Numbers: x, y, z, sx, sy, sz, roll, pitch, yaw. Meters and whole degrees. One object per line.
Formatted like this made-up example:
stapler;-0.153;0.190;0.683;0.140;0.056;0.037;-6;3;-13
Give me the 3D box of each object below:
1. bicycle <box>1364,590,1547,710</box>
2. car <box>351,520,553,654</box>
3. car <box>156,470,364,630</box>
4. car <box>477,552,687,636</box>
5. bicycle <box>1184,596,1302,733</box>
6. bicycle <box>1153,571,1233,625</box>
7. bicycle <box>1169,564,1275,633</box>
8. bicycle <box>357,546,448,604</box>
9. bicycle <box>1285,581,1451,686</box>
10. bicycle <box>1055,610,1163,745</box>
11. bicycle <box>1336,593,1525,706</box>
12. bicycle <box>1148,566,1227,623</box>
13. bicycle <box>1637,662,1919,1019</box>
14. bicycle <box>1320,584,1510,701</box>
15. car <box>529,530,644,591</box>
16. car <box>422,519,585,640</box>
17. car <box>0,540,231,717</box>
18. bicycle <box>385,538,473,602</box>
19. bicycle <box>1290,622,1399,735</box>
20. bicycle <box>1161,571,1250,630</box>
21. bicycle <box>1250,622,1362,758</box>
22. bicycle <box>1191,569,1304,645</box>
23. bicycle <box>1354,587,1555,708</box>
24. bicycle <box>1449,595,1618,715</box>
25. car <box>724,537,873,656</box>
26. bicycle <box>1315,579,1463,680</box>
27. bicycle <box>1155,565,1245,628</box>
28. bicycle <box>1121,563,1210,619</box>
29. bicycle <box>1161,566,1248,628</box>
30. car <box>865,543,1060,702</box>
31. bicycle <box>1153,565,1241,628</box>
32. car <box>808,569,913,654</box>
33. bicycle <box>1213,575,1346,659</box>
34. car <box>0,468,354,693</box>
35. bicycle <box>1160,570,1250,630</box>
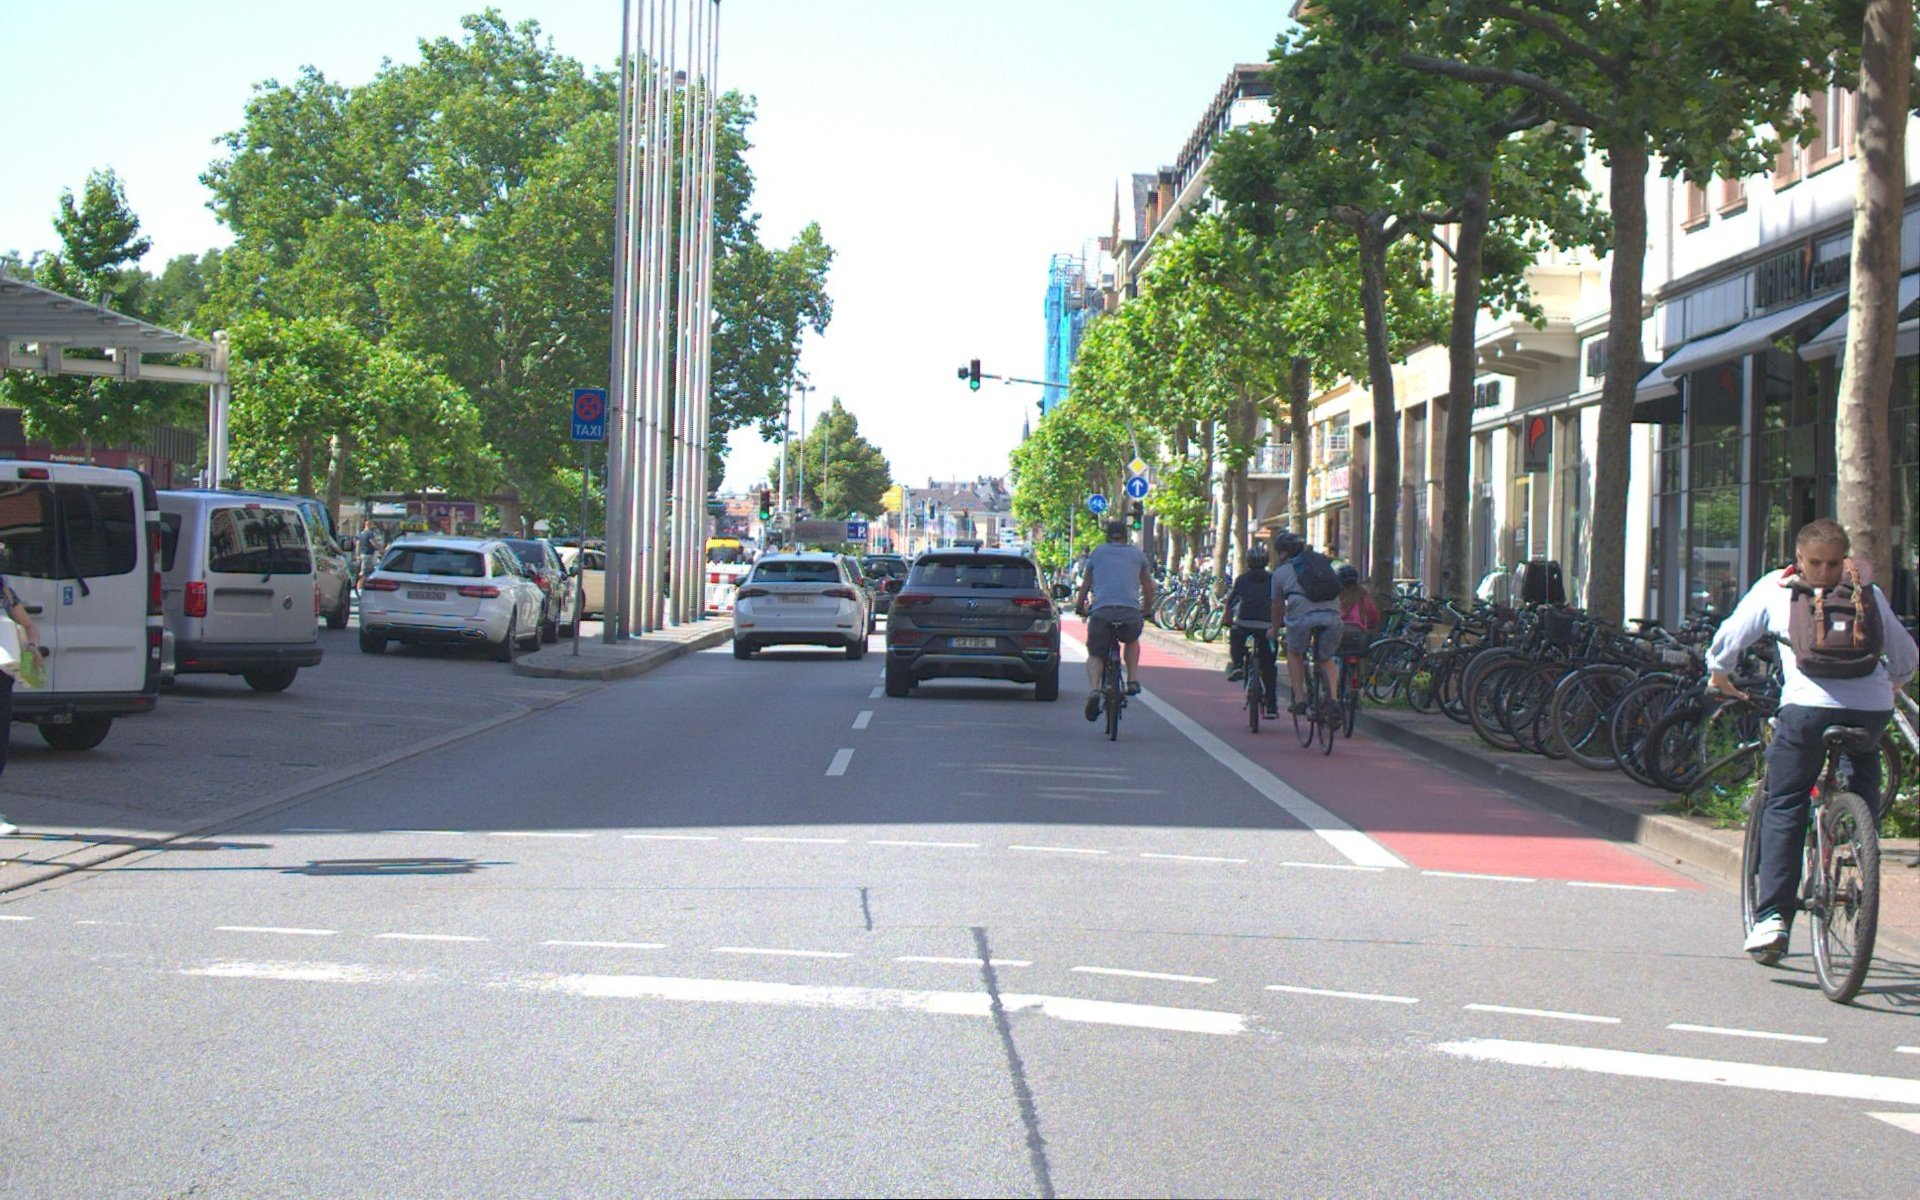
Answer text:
bicycle;4.802;0.492;33.247;1.840;1.123;0.594;2;-1;-36
car;-6.347;-0.209;43.424;1.799;1.518;4.739;3;1;0
car;-9.477;-0.685;46.901;1.832;2.007;4.685;2;1;0
car;-7.685;-0.158;70.378;1.894;1.536;4.855;3;2;27
bicycle;2.512;0.558;30.701;0.698;1.123;2.082;3;0;-4
bicycle;4.953;-0.049;73.174;1.649;1.091;0.607;2;1;2
bicycle;4.966;-0.031;65.221;1.931;1.244;0.736;2;1;2
bicycle;-11.635;-0.522;71.768;1.781;1.128;0.563;2;1;-3
bicycle;4.890;0.396;41.269;1.839;1.123;0.497;4;2;-8
bicycle;1.215;0.619;28.394;0.774;1.002;2.329;1;1;0
bicycle;4.970;0.520;36.316;1.839;1.089;0.565;3;0;-10
bicycle;4.944;-0.122;74.697;1.649;1.197;0.474;2;0;2
bicycle;3.139;0.841;12.679;0.698;1.123;2.082;3;0;-4
bicycle;4.870;0.450;36.815;1.839;1.123;0.632;4;0;-10
car;-12.649;-1.329;116.641;1.861;1.948;4.755;2;0;21
car;-6.478;-0.316;49.222;1.761;1.594;4.710;2;1;-1
car;-8.271;0.142;28.074;4.292;1.282;1.967;4;1;31
bicycle;-11.511;-0.655;74.559;1.781;1.304;0.663;2;1;-3
bicycle;3.390;0.680;30.477;0.600;0.922;2.088;-1;1;-4
bicycle;4.880;0.011;68.389;1.728;1.105;0.477;2;0;2
bicycle;2.741;0.697;27.399;0.630;0.976;2.089;1;1;-1
bicycle;4.863;0.114;58.124;1.840;1.182;0.670;3;0;5
bicycle;5.113;0.489;35.573;1.839;1.123;0.766;4;-1;-13
bicycle;5.549;0.537;33.193;1.840;1.123;0.448;2;-1;-37
car;-2.197;-0.074;47.602;1.845;1.554;4.000;1;1;0
bicycle;5.363;0.375;42.932;1.774;1.193;0.578;2;0;-27
bicycle;4.798;-0.071;68.750;1.728;1.213;0.477;2;0;2
bicycle;4.825;-0.215;80.836;1.932;1.253;0.705;2;1;-19
bicycle;4.972;-0.064;69.965;1.728;1.213;0.477;2;0;2
car;-0.030;0.189;36.129;1.845;1.554;4.001;1;1;-3
bicycle;4.788;-0.069;69.475;1.728;1.213;0.477;2;0;2
car;-1.786;0.189;62.612;1.845;1.444;4.000;1;1;-1
bicycle;4.684;0.246;50.361;1.841;1.123;0.497;3;0;11
car;-7.938;-0.235;31.925;4.441;1.903;2.005;3;2;36
bicycle;4.847;-0.001;67.970;1.728;1.105;0.402;2;0;2
